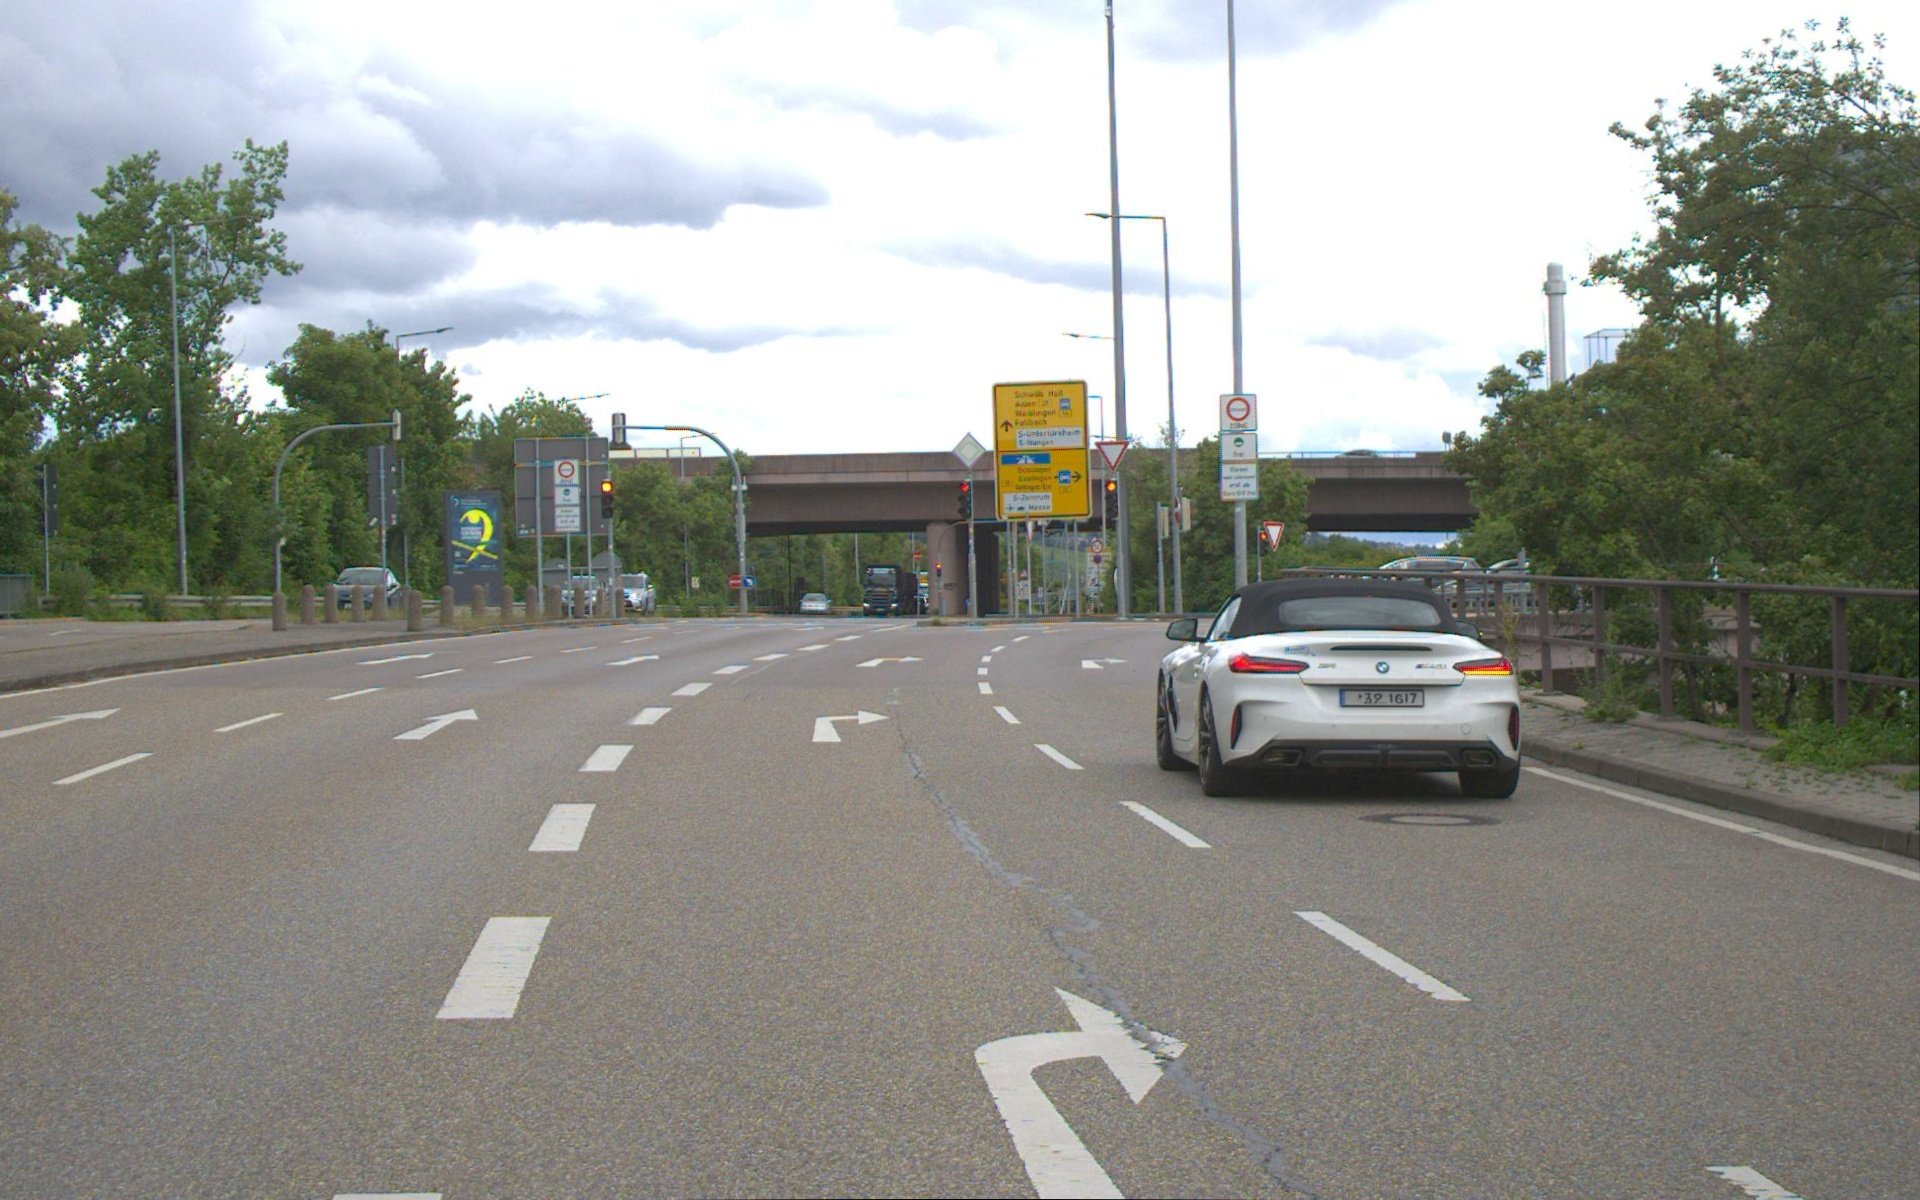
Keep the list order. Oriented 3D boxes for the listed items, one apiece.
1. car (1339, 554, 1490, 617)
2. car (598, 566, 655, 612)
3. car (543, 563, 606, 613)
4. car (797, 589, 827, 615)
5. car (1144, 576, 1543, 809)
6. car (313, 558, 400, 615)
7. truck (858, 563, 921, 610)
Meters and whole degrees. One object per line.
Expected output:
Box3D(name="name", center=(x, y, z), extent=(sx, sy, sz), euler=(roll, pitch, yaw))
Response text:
Box3D(name="car", center=(13.781, -0.418, 104.392), extent=(4.372, 1.752, 2.000), euler=(-1, -2, 3))
Box3D(name="car", center=(-12.224, -0.410, 126.223), extent=(1.771, 1.627, 3.825), euler=(1, 0, -1))
Box3D(name="car", center=(-13.142, -0.404, 117.473), extent=(1.771, 1.639, 3.825), euler=(1, 0, -1))
Box3D(name="car", center=(-9.146, 0.125, 212.863), extent=(1.741, 1.532, 3.672), euler=(0, 1, 0))
Box3D(name="car", center=(2.284, 0.519, 21.458), extent=(1.874, 1.305, 3.873), euler=(-1, 0, -3))
Box3D(name="car", center=(-16.416, -0.369, 93.599), extent=(1.760, 1.479, 3.484), euler=(1, 0, -1))
Box3D(name="truck", center=(-4.813, -0.902, 237.158), extent=(2.924, 3.135, 10.108), euler=(1, 0, 7))
